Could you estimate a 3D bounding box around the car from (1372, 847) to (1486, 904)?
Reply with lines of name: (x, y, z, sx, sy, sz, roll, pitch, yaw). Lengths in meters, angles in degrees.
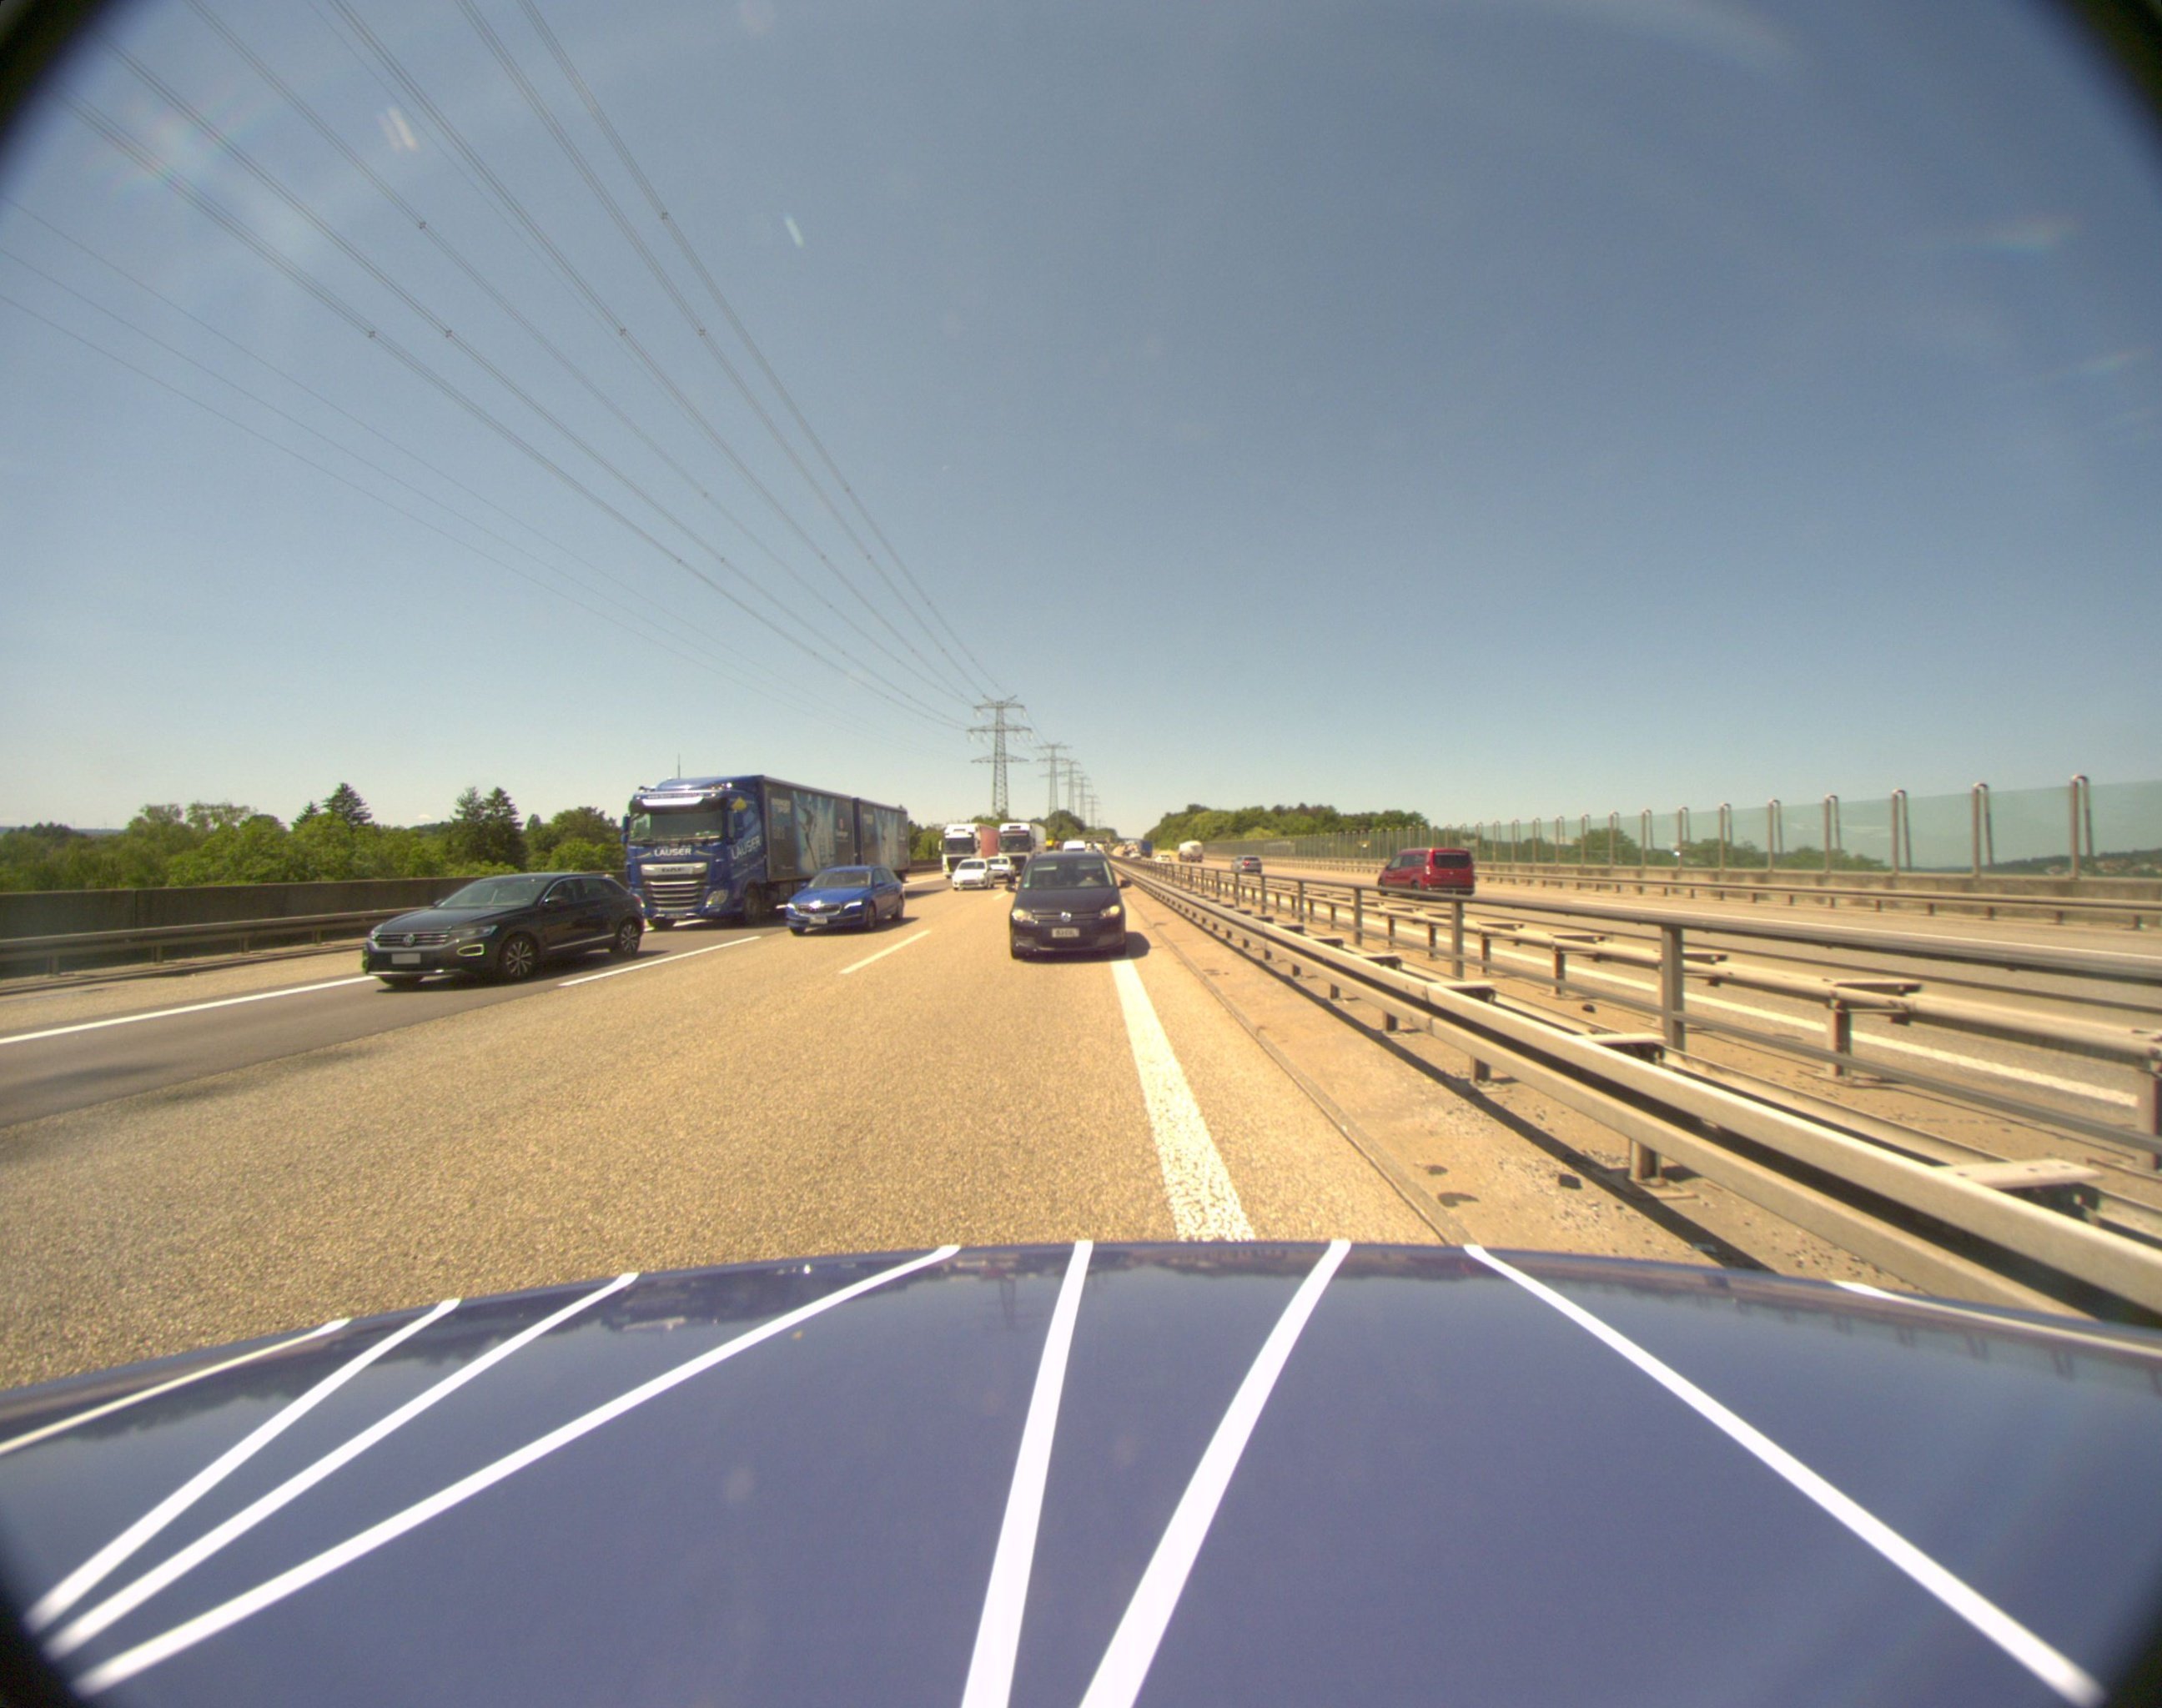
car: (12.214, 0.689, 27.072, 1.844, 1.812, 4.746, 0, 1, 0)

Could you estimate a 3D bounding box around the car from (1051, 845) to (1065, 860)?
car: (-3.368, -0.256, 111.798, 1.704, 2.116, 3.999, 2, 1, 1)

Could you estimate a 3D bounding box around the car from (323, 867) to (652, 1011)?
car: (-8.723, 1.118, 11.749, 1.712, 1.645, 4.117, -2, 1, 1)

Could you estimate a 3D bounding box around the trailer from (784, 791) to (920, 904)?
trailer: (-9.387, -0.297, 32.406, 2.835, 4.066, 8.637, -2, 1, 1)

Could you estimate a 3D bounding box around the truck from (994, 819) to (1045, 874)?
truck: (-4.626, -0.600, 59.094, 2.849, 3.804, 8.264, -2, 1, 2)

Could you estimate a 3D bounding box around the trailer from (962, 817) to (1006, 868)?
trailer: (-8.473, -1.026, 67.480, 2.608, 4.094, 9.083, -2, 1, 0)

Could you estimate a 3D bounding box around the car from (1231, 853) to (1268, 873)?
car: (13.010, 0.649, 58.829, 1.876, 1.434, 4.384, 1, 1, 0)

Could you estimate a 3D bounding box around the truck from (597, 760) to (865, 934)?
truck: (-9.589, -0.235, 22.820, 2.859, 3.927, 10.393, -2, 1, 1)

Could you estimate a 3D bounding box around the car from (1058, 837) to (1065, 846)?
car: (-4.762, -2.990, 186.335, 1.704, 2.116, 3.999, 2, 1, 1)

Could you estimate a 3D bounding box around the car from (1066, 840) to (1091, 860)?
car: (-0.171, -0.370, 63.217, 1.924, 1.501, 3.996, -2, 1, 1)

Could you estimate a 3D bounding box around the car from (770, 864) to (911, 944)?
car: (-5.423, 1.060, 17.822, 1.712, 1.443, 4.563, -2, 1, 1)

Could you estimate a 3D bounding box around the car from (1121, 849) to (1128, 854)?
car: (13.621, -0.750, 238.162, 1.887, 1.543, 4.188, -2, 1, -1)

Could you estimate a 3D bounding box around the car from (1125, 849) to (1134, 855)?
car: (12.632, -0.461, 198.696, 1.887, 1.543, 4.188, -2, 1, -1)

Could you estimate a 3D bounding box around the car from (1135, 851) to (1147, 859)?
car: (11.705, 0.187, 148.275, 1.811, 1.630, 3.999, 1, 1, -1)

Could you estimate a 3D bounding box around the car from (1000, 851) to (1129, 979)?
car: (-0.215, 0.836, 12.452, 1.713, 1.669, 3.931, -2, 1, 0)

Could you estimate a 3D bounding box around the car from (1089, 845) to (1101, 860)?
car: (2.160, -0.254, 118.052, 1.704, 2.116, 3.999, -2, 1, 1)

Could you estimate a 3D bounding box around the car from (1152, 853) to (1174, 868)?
car: (9.053, 0.678, 83.958, 1.876, 1.521, 3.608, 4, 1, 0)

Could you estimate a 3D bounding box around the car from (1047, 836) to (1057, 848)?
car: (-6.021, -2.539, 157.866, 1.704, 2.525, 3.999, 2, 1, 1)

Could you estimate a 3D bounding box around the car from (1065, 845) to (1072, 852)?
car: (-3.613, -1.612, 220.212, 1.704, 2.116, 3.999, 2, 1, 1)

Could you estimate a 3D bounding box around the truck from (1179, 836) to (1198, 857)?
truck: (18.285, -1.292, 129.879, 2.527, 3.514, 5.329, 0, 1, 1)

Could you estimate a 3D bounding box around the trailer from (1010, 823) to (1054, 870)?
trailer: (-4.253, -0.677, 67.773, 2.822, 3.830, 9.085, -2, 1, 2)

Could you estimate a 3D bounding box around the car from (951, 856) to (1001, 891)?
car: (-5.059, 0.909, 37.019, 1.712, 1.443, 4.144, -2, 1, 1)

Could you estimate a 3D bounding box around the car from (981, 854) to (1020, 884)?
car: (-4.619, 0.829, 44.077, 1.712, 1.501, 4.144, -2, 1, 1)

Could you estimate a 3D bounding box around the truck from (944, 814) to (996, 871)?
truck: (-8.450, -0.869, 58.808, 2.608, 3.964, 8.263, -2, 1, 0)

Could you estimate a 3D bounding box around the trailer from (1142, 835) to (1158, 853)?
trailer: (16.060, -2.298, 178.188, 2.711, 4.141, 12.047, 0, 1, 0)

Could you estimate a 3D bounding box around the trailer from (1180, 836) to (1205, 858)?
trailer: (18.156, -1.207, 124.313, 2.505, 3.520, 10.902, 0, 1, 1)

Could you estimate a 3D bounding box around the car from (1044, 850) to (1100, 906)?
car: (-0.261, 0.760, 26.119, 1.713, 1.669, 3.931, -2, 1, 0)
